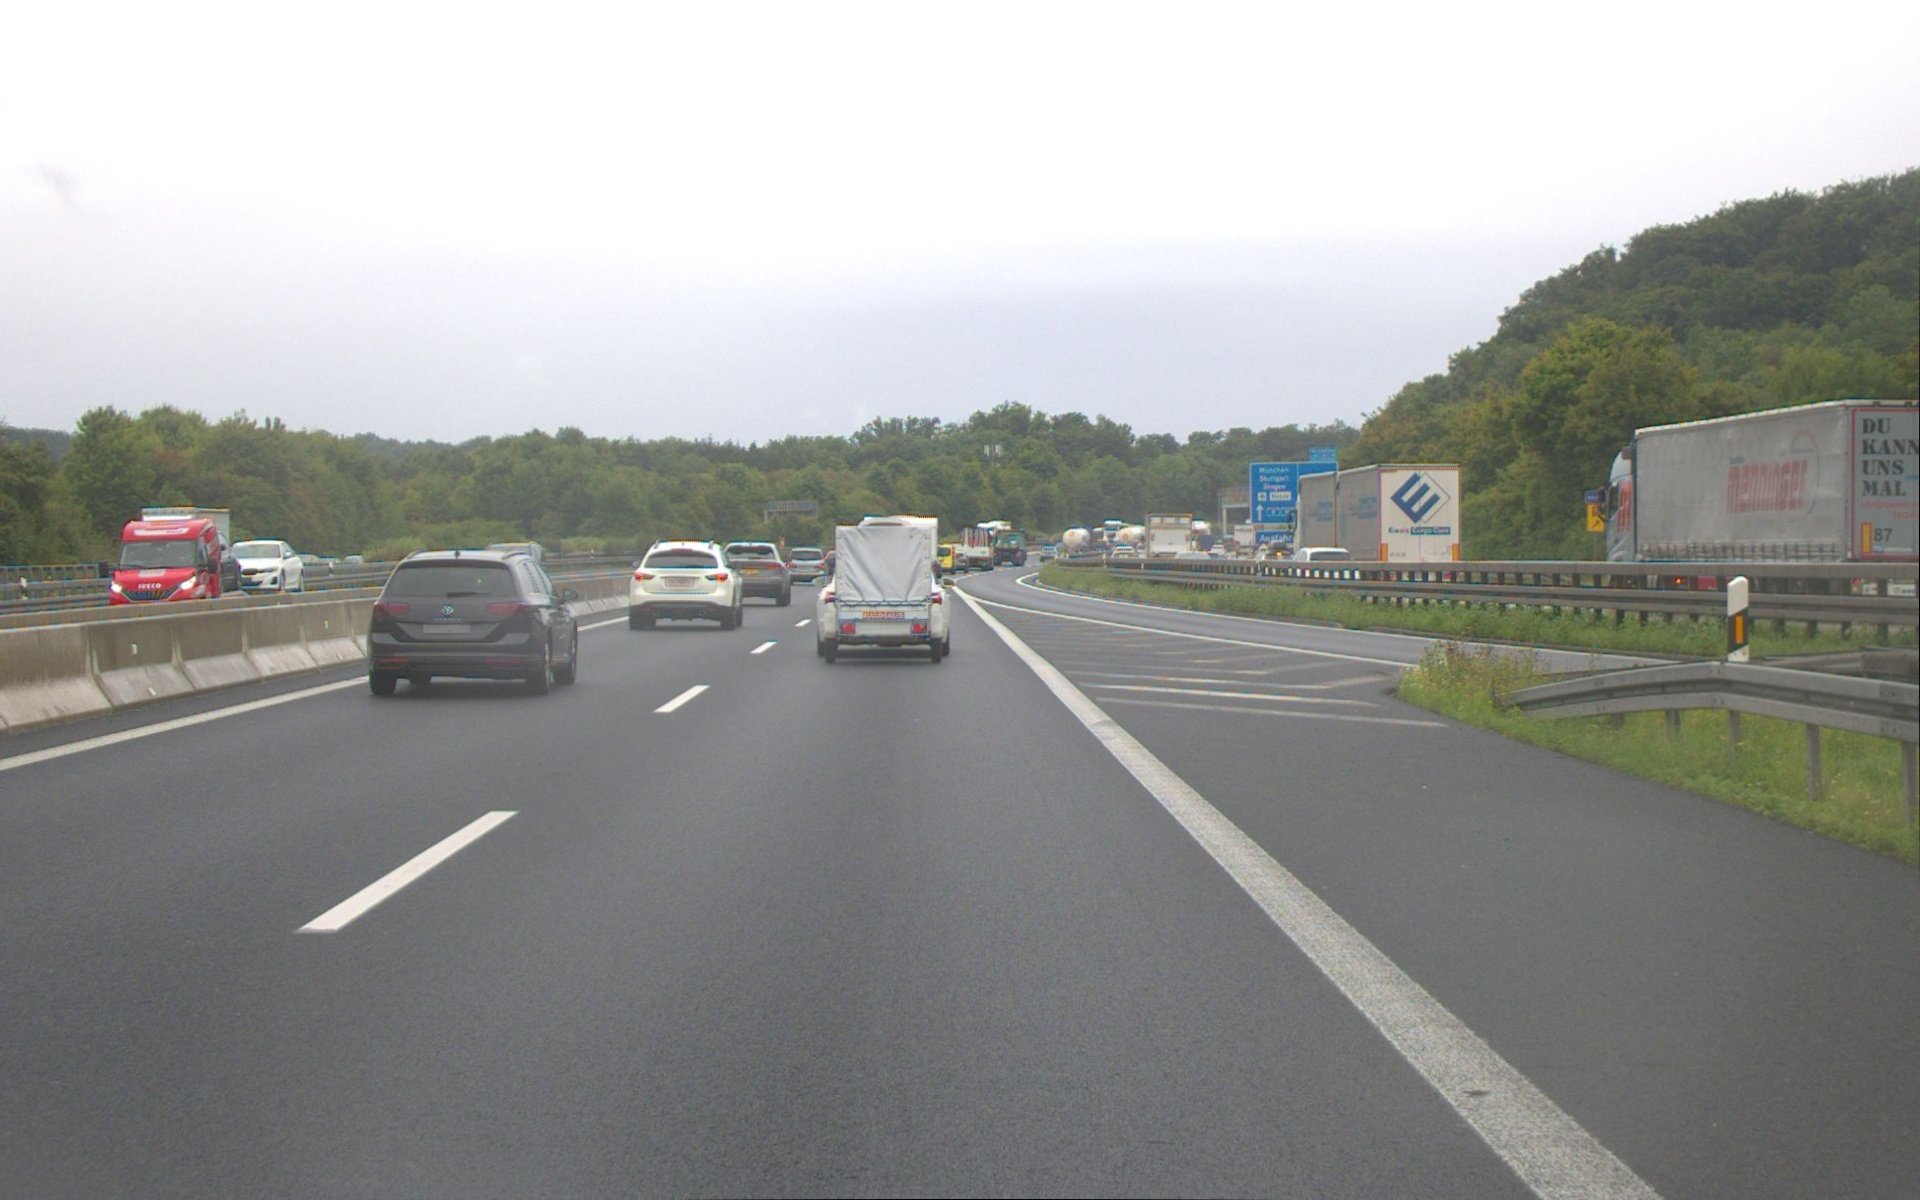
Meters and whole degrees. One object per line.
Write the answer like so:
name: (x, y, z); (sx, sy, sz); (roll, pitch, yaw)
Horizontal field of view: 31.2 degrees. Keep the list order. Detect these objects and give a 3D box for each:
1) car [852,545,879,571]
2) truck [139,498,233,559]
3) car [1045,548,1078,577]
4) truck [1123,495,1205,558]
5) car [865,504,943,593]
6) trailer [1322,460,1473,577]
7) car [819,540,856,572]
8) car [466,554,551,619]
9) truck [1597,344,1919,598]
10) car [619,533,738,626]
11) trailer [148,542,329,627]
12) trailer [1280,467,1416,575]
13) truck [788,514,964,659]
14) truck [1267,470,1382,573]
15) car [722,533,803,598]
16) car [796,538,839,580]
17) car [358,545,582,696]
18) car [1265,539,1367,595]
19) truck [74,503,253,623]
car: (-5.974, -2.651, 217.692); (1.645, 1.568, 4.000); (1, 1, 0)
truck: (-37.294, -3.449, 165.992); (2.739, 2.863, 8.542); (-1, 1, -1)
car: (5.557, -2.051, 188.652); (1.645, 1.568, 4.000); (1, 1, 0)
truck: (12.364, -4.436, 208.716); (3.824, 3.646, 8.273); (1, 1, -4)
car: (-1.813, -1.639, 108.659); (2.331, 2.716, 6.540); (0, 1, -2)
trailer: (13.839, -2.560, 109.418); (3.077, 3.515, 8.086); (1, 1, -5)
car: (-6.535, -2.356, 183.307); (1.819, 1.656, 4.017); (0, 1, 0)
car: (-14.539, -0.452, 110.924); (1.993, 2.007, 5.099); (0, 1, 1)
truck: (17.050, -2.407, 69.810); (3.820, 4.525, 16.888); (0, 1, -5)
car: (-5.335, -0.410, 64.685); (2.048, 1.665, 4.542); (0, 1, -7)
trailer: (-18.032, -0.457, 86.590); (2.536, 2.007, 10.246); (-1, 1, -1)
trailer: (13.197, -2.679, 117.714); (2.937, 3.515, 8.421); (1, 1, -5)
truck: (-1.097, -0.198, 47.320); (2.242, 1.833, 6.585); (1, 0, 0)
truck: (12.869, -2.742, 121.761); (2.937, 3.515, 5.928); (1, 1, -5)
car: (-5.327, -0.961, 93.314); (1.975, 1.697, 4.803); (1, 1, -1)
car: (-6.162, -1.787, 148.497); (1.738, 1.787, 4.000); (1, 1, -1)
car: (-5.036, 0.159, 35.890); (1.787, 1.454, 4.803); (1, 1, -2)
car: (10.661, -0.994, 103.303); (1.993, 1.611, 5.080); (0, 1, -7)
truck: (-17.935, -0.847, 77.836); (2.426, 2.585, 7.093); (0, 1, 0)
